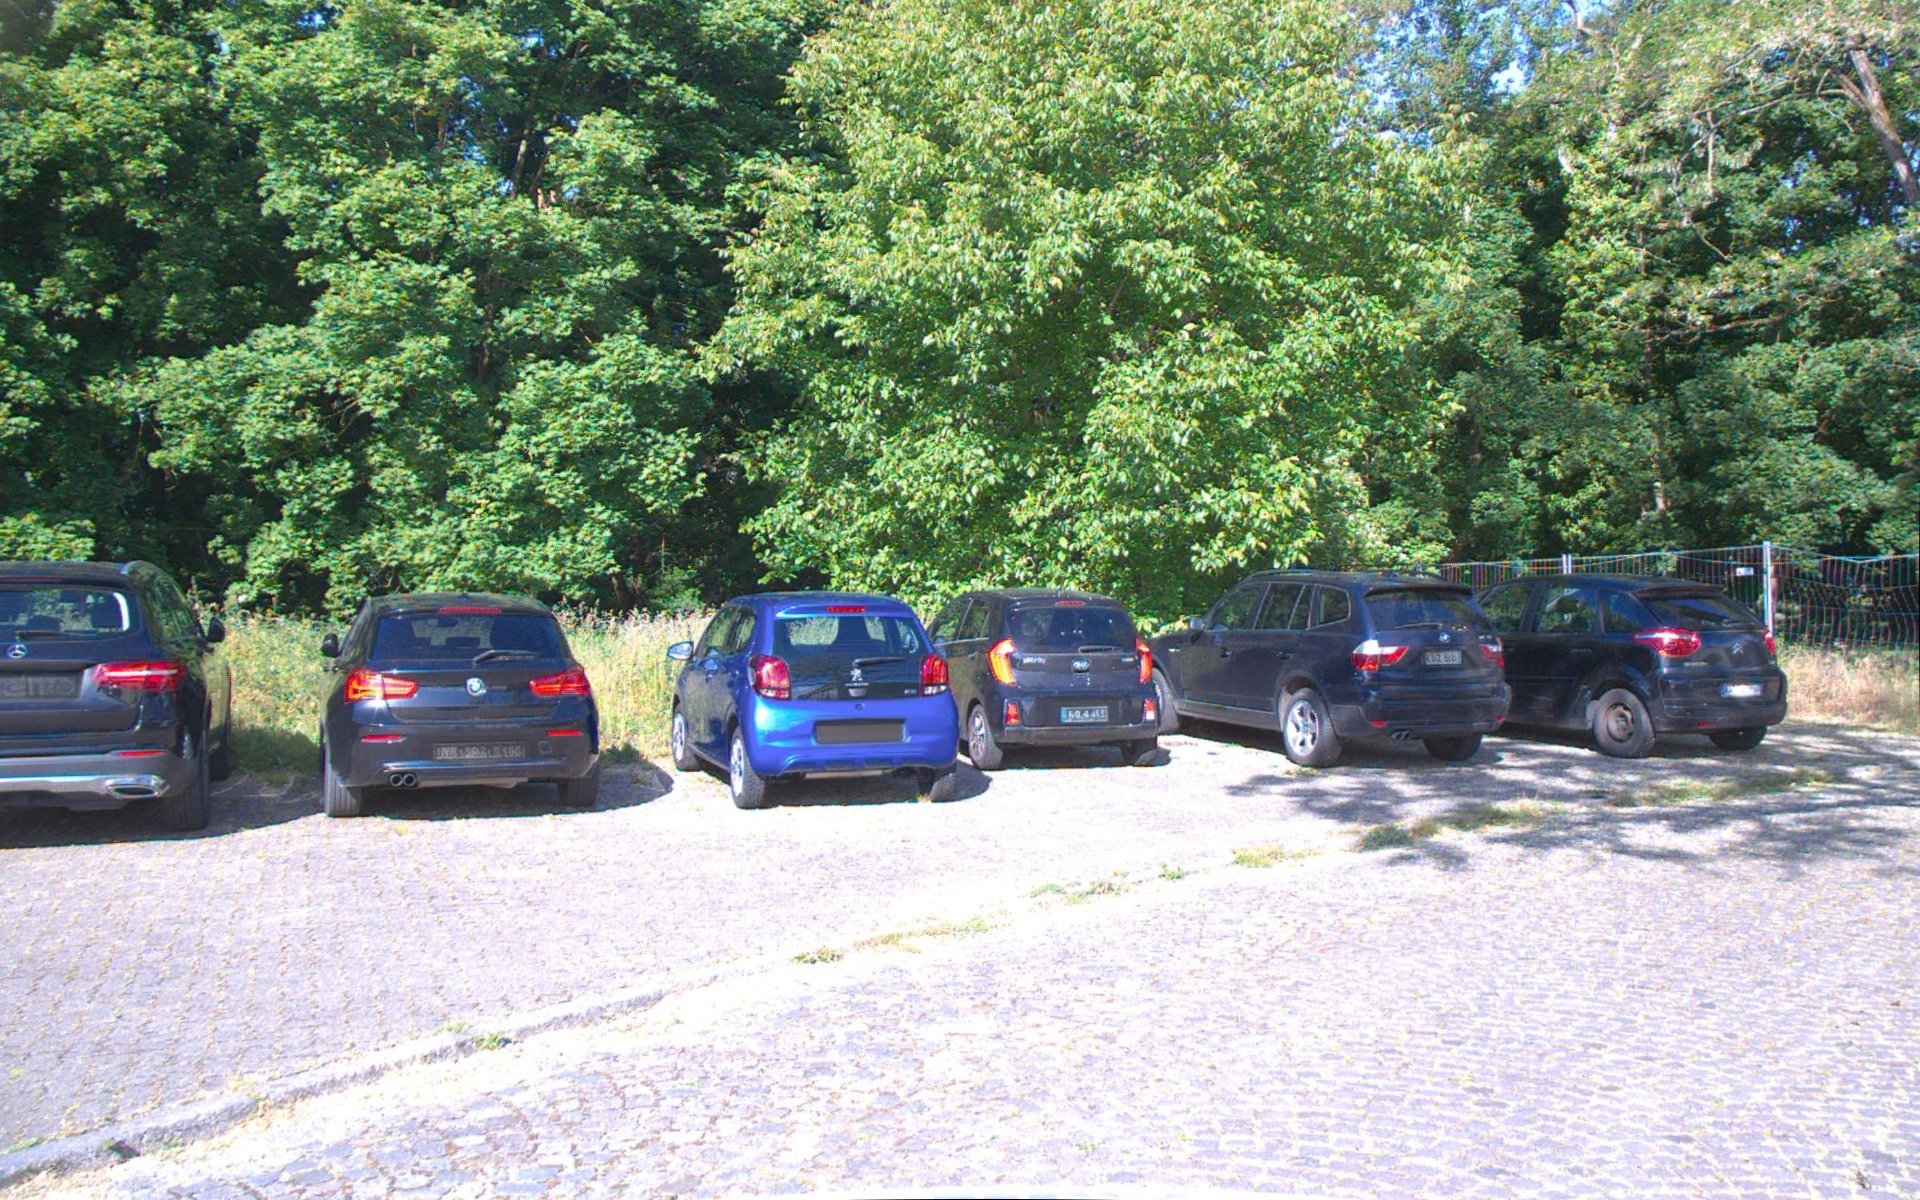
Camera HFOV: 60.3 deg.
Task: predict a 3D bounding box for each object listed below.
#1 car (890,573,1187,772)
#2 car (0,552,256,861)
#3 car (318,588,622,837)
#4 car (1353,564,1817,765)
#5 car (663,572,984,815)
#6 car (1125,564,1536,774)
[{"bbox_3d":[0.587,0.561,15.101,1.646,1.542,3.536,1,1,-16],"label":"car"},{"bbox_3d":[-5.741,0.562,10.773,1.834,1.670,3.799,-1,1,-19],"label":"car"},{"bbox_3d":[-3.652,0.664,11.955,1.802,1.476,3.640,-1,0,-21],"label":"car"},{"bbox_3d":[6.124,0.513,16.736,1.768,1.680,4.259,-1,2,-29],"label":"car"},{"bbox_3d":[-1.209,0.588,12.964,1.683,1.519,3.644,-1,2,-19],"label":"car"},{"bbox_3d":[3.323,0.514,15.722,1.787,1.685,4.163,-1,2,-22],"label":"car"}]
